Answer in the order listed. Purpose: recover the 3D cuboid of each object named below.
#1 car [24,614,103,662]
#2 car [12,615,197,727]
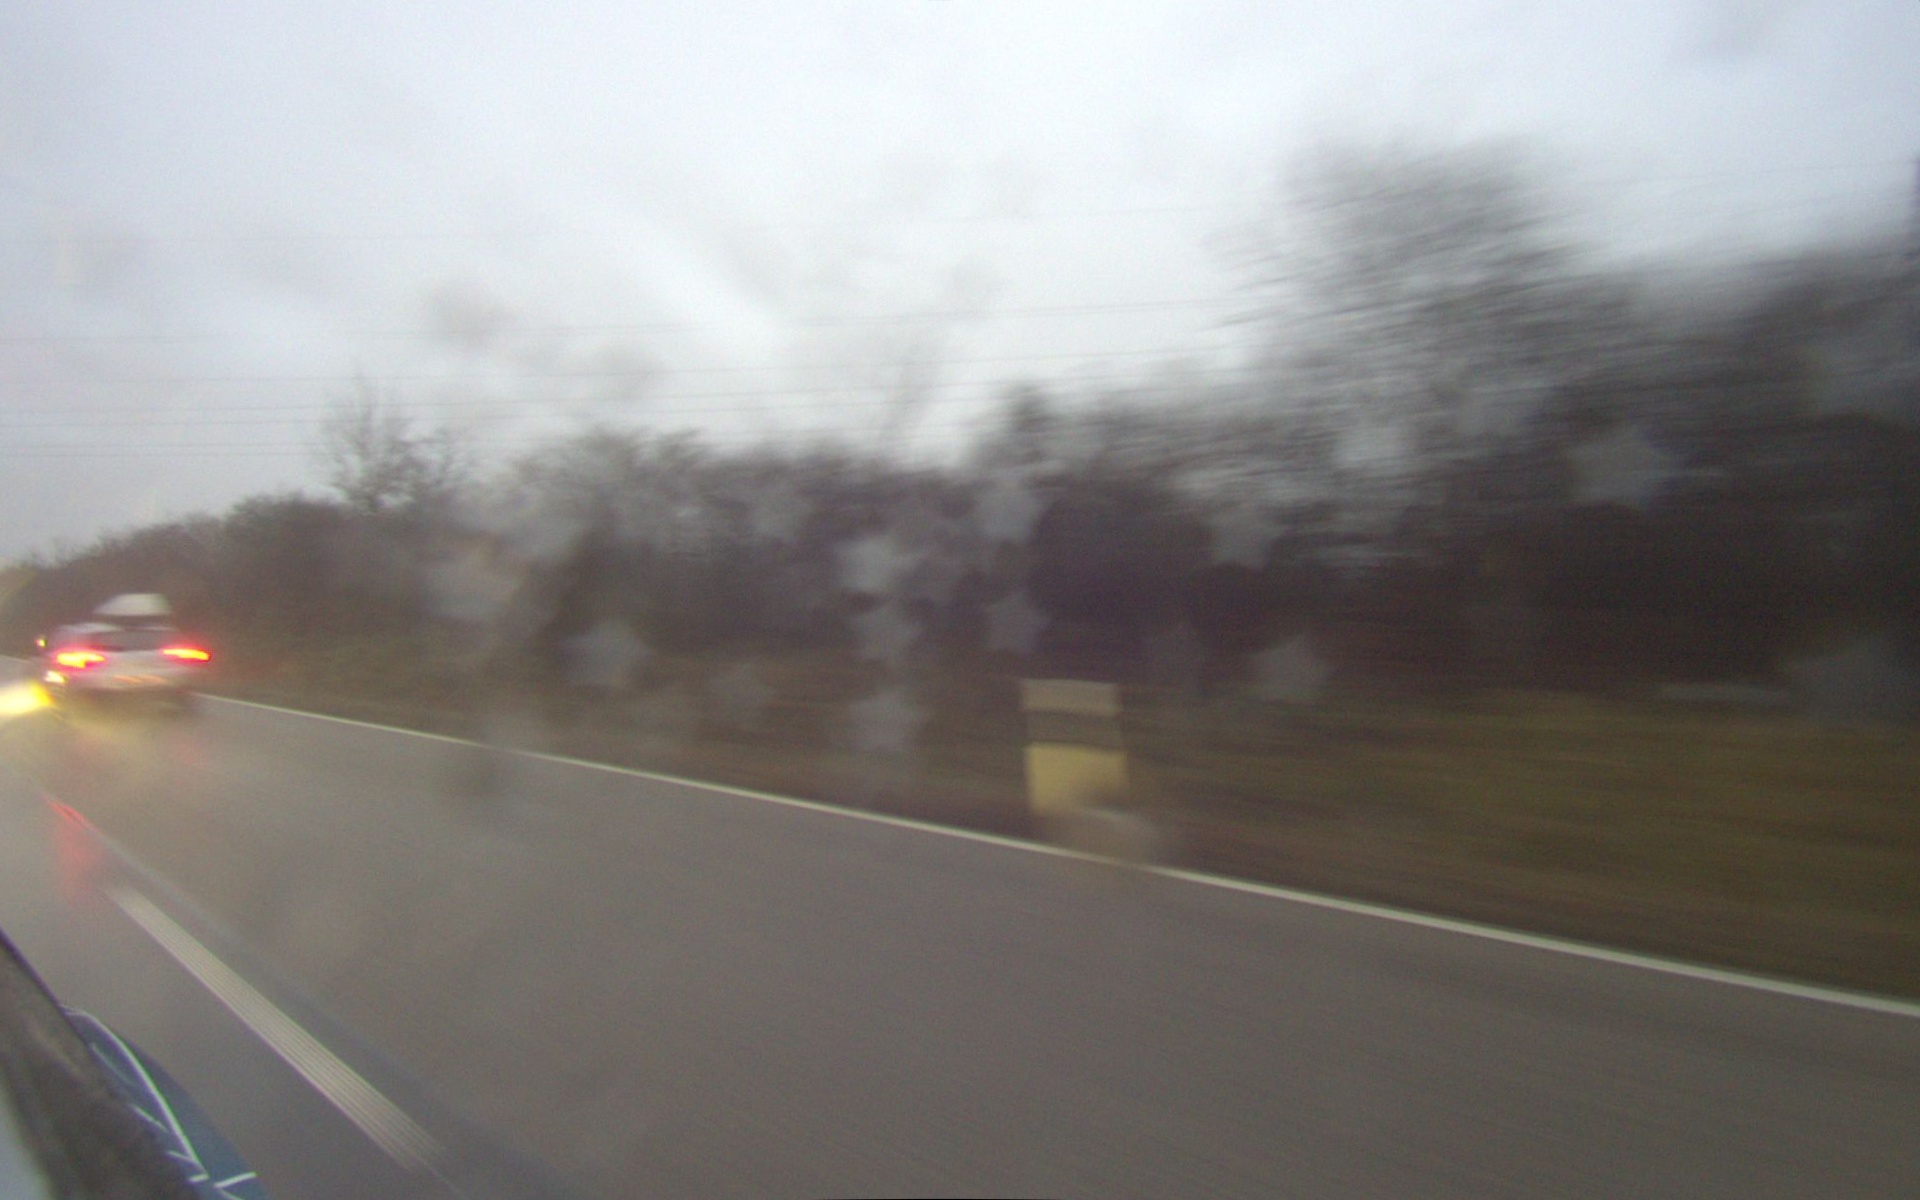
[{"bbox_3d":[-36.189,1.495,40.836,3.999,1.798,1.972,-1,0,42],"label":"car"},{"bbox_3d":[-13.722,1.033,16.151,4.083,1.541,1.674,-1,0,41],"label":"car"}]
